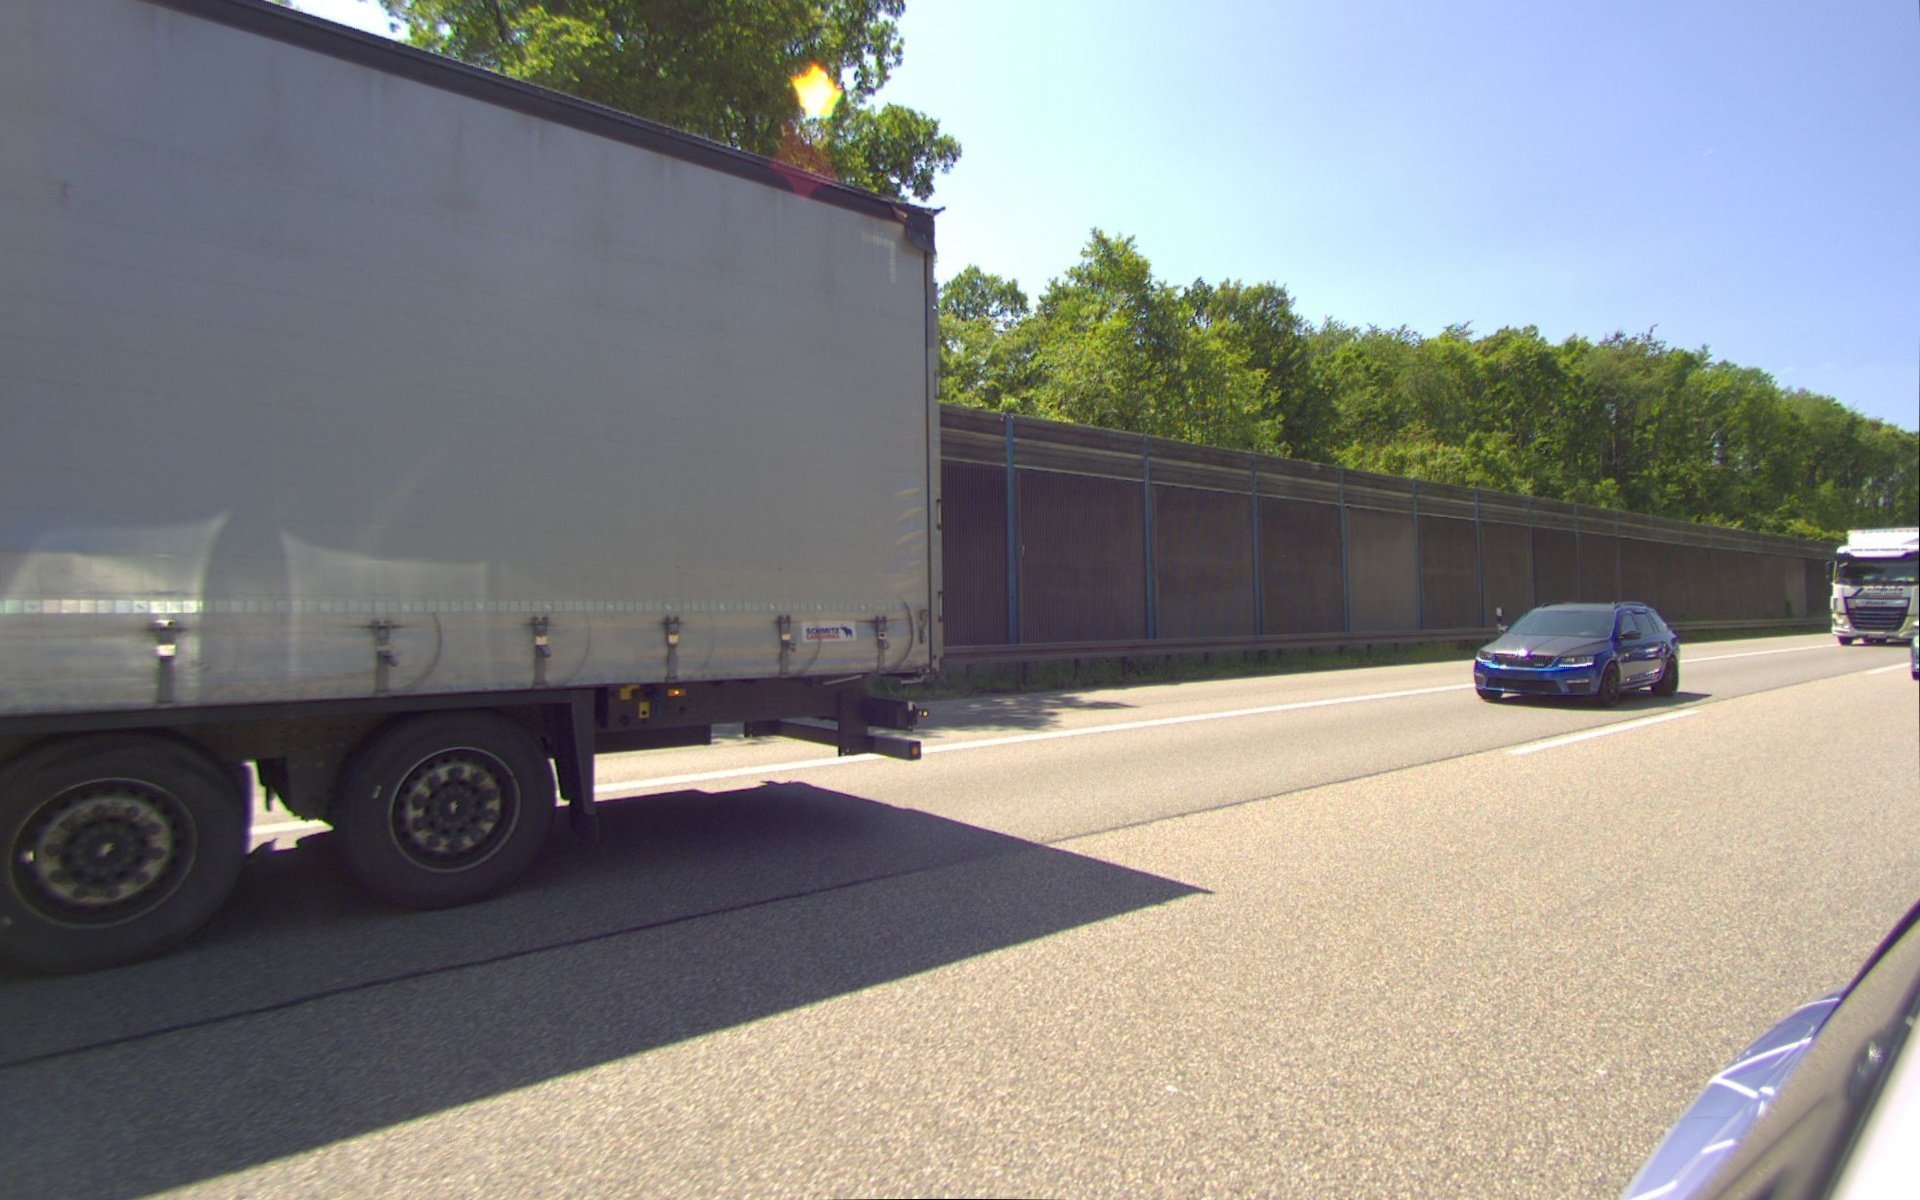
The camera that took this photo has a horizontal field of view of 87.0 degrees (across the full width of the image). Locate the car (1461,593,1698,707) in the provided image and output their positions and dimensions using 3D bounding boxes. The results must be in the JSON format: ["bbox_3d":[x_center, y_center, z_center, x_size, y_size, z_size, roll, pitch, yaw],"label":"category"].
[{"bbox_3d":[9.540,0.666,15.471,4.102,1.512,1.859,0,-1,-40],"label":"car"}]

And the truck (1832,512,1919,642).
[{"bbox_3d":[33.117,-0.765,35.423,5.320,4.269,2.812,0,-1,-37],"label":"truck"}]

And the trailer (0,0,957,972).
[{"bbox_3d":[-6.005,-0.697,3.273,13.348,4.142,2.603,-1,0,-39],"label":"trailer"}]

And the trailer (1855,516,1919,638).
[{"bbox_3d":[38.604,-0.812,39.577,13.216,4.269,2.822,0,-1,-37],"label":"trailer"}]
